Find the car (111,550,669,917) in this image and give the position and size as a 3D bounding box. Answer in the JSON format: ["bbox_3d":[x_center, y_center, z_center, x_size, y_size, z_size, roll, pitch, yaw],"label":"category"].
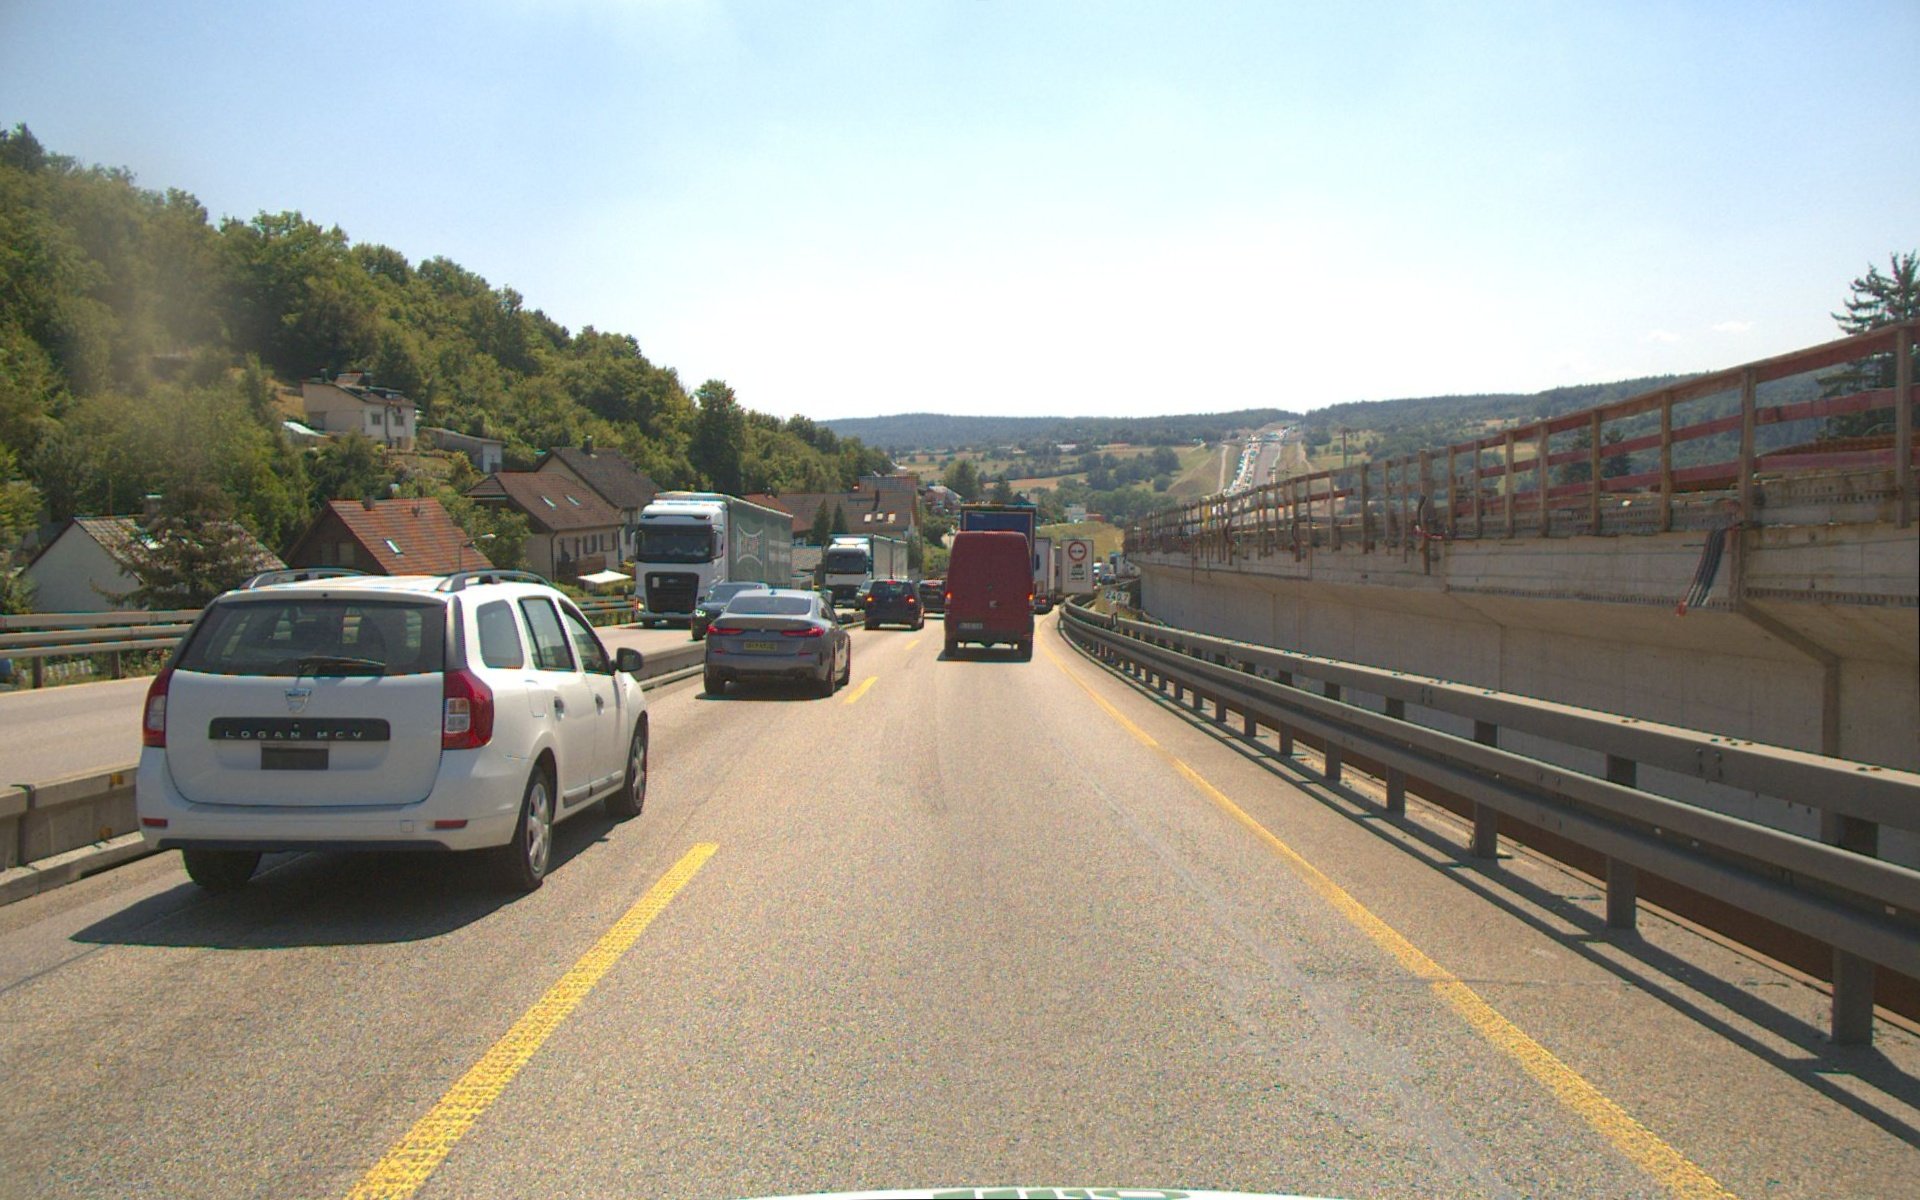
[{"bbox_3d":[-2.785,0.570,9.126,1.618,1.509,4.266,-1,0,-1],"label":"car"}]

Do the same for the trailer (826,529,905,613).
[{"bbox_3d":[-5.599,-1.590,101.161,2.774,4.723,14.588,1,0,5],"label":"trailer"}]

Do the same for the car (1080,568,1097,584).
[{"bbox_3d":[16.644,-3.075,213.912,1.765,2.049,4.004,2,1,9],"label":"car"}]

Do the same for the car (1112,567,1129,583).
[{"bbox_3d":[21.722,-3.349,223.747,2.086,2.049,4.003,1,0,9],"label":"car"}]

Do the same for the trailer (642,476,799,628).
[{"bbox_3d":[-8.431,-1.497,60.583,3.000,4.900,14.006,1,0,3],"label":"trailer"}]

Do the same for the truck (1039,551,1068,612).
[{"bbox_3d":[6.952,-1.325,122.742,1.951,4.458,4.002,1,-1,5],"label":"truck"}]

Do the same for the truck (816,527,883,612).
[{"bbox_3d":[-6.246,-1.698,94.536,2.786,4.660,5.791,1,-1,6],"label":"truck"}]

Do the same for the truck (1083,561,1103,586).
[{"bbox_3d":[8.866,-1.776,110.413,1.287,1.569,3.153,1,0,3],"label":"truck"}]

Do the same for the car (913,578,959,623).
[{"bbox_3d":[-1.014,0.055,71.710,1.693,1.870,4.002,1,0,3],"label":"car"}]

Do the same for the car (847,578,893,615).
[{"bbox_3d":[-4.339,-0.173,80.218,1.916,1.710,4.115,0,0,2],"label":"car"}]

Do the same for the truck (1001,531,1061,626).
[{"bbox_3d":[3.822,-1.068,90.919,2.729,4.900,9.683,1,0,-1],"label":"truck"}]

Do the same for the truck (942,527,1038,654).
[{"bbox_3d":[0.666,-0.188,36.506,1.952,2.624,4.000,1,-1,1],"label":"truck"}]

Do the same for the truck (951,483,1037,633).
[{"bbox_3d":[1.106,-1.343,59.413,2.729,4.900,9.683,1,0,-1],"label":"truck"}]

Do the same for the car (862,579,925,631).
[{"bbox_3d":[-2.173,0.175,55.019,1.772,1.636,3.720,1,0,2],"label":"car"}]

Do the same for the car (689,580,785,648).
[{"bbox_3d":[-5.839,0.362,43.828,1.953,1.669,4.852,1,0,-2],"label":"car"}]

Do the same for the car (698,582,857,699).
[{"bbox_3d":[-2.507,0.514,23.606,1.758,1.511,4.050,0,0,1],"label":"car"}]

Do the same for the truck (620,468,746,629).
[{"bbox_3d":[-8.784,-1.559,53.042,2.997,4.906,4.646,1,-1,2],"label":"truck"}]
